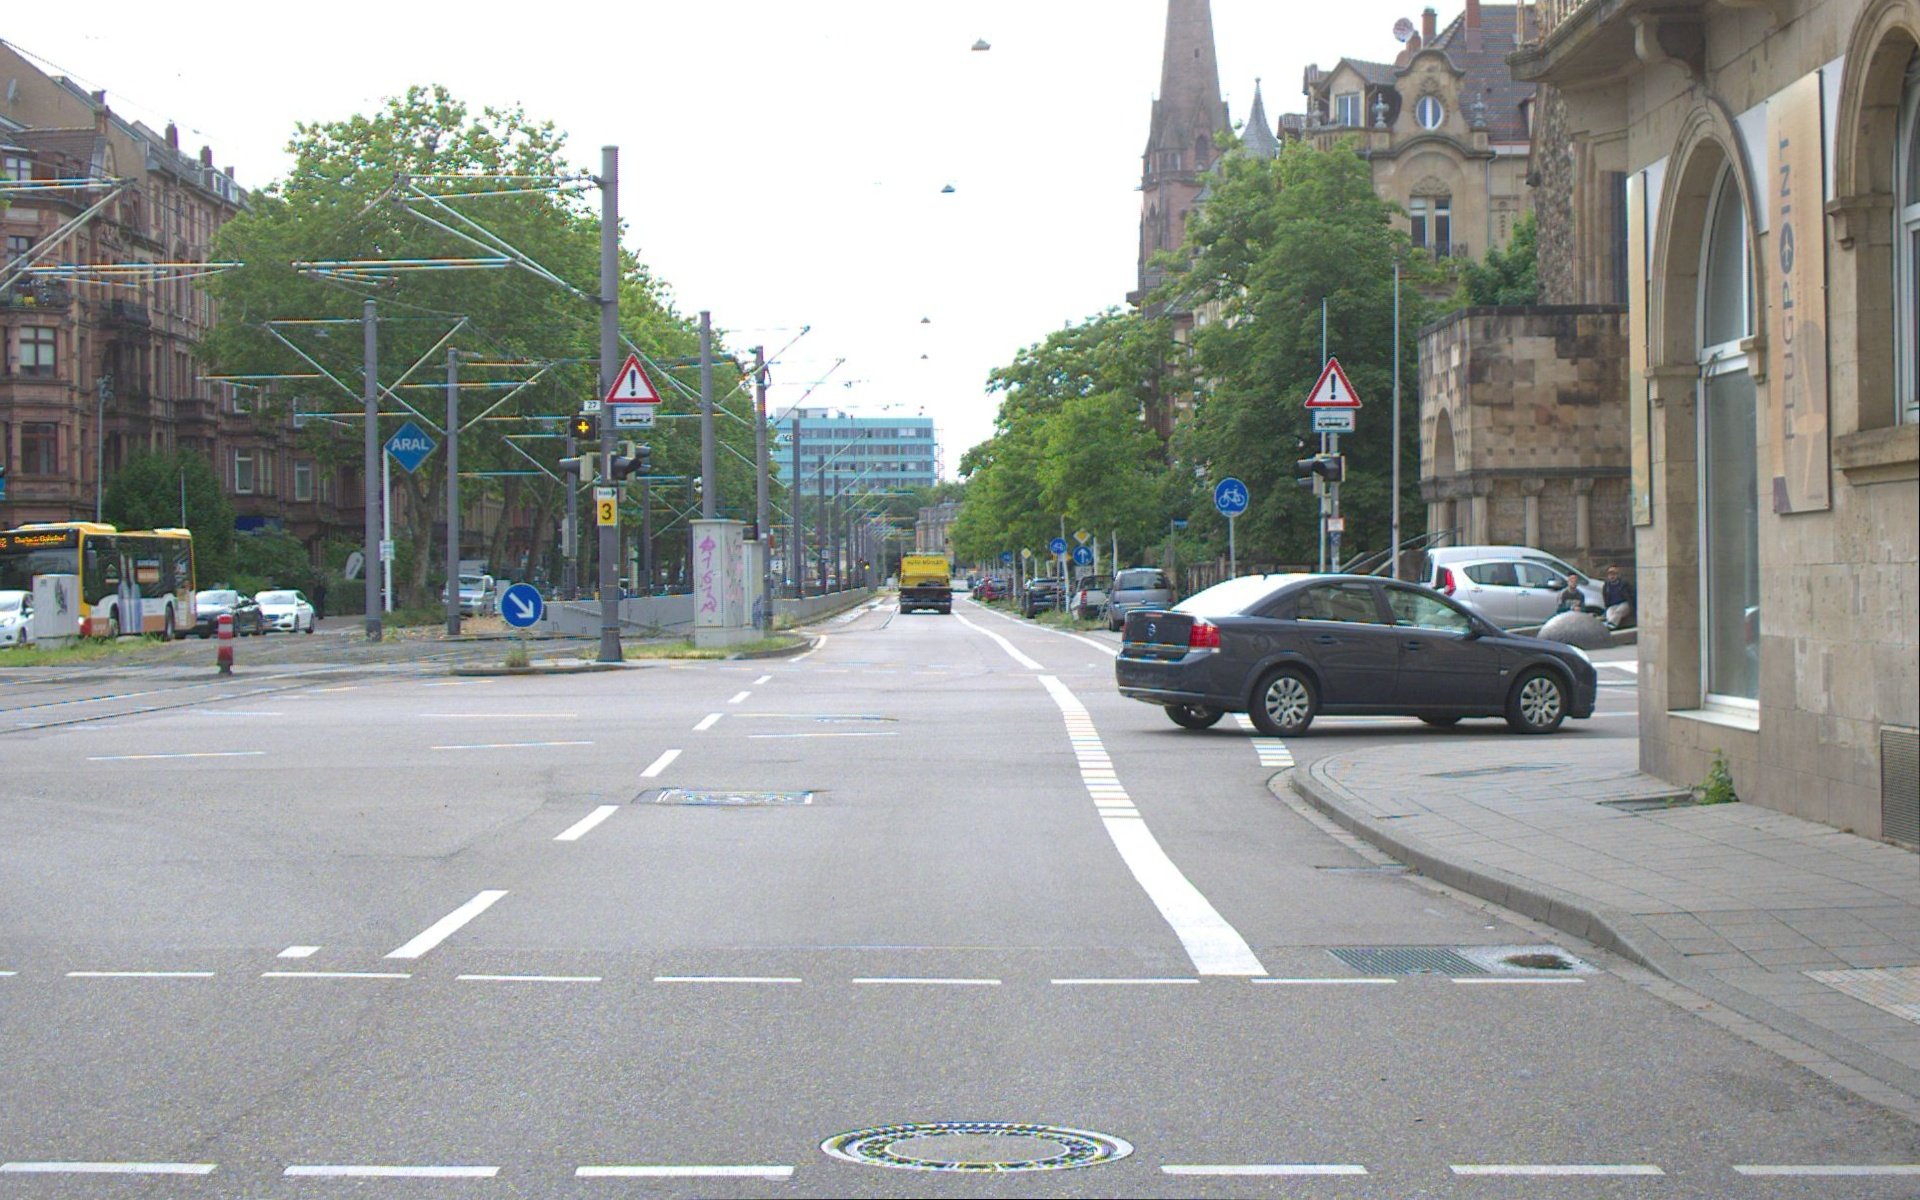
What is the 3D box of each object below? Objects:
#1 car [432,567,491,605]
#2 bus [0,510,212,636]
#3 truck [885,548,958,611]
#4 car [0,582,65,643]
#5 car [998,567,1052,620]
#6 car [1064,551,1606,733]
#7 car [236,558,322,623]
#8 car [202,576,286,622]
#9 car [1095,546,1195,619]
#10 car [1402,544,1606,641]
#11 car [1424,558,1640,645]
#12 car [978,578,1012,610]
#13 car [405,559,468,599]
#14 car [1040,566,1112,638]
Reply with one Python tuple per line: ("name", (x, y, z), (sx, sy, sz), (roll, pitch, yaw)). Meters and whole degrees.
("car", (-21.624, -0.618, 149.142), (1.993, 1.605, 4.000), (1, 1, -1))
("bus", (-22.477, -0.717, 89.097), (3.231, 3.025, 12.311), (1, 1, 1))
("truck", (-1.719, -0.976, 158.042), (3.055, 2.760, 9.815), (0, 1, 1))
("car", (-21.910, 0.271, 79.048), (1.656, 1.316, 3.638), (1, 1, 1))
("car", (2.540, -0.268, 135.991), (1.993, 2.007, 4.000), (1, 1, -1))
("car", (3.420, 0.346, 31.346), (4.521, 1.558, 2.000), (0, 1, -24))
("car", (-21.846, -0.313, 110.351), (1.993, 2.007, 4.000), (1, 1, -1))
("car", (-21.272, -0.035, 102.229), (1.656, 1.316, 3.638), (1, 1, 1))
("car", (4.869, -0.469, 89.986), (1.994, 1.849, 4.024), (1, 1, 12))
("car", (10.793, -0.161, 68.406), (3.713, 1.849, 2.000), (1, 0, 0))
("car", (10.764, 0.016, 64.898), (3.713, 1.558, 2.000), (1, 0, 0))
("car", (2.198, -0.387, 216.839), (1.993, 2.007, 4.000), (1, 1, -1))
("car", (-21.535, -0.861, 141.523), (1.993, 1.605, 4.000), (1, 1, -1))
("car", (3.344, 0.037, 99.619), (1.993, 2.007, 4.000), (1, 1, 1))
